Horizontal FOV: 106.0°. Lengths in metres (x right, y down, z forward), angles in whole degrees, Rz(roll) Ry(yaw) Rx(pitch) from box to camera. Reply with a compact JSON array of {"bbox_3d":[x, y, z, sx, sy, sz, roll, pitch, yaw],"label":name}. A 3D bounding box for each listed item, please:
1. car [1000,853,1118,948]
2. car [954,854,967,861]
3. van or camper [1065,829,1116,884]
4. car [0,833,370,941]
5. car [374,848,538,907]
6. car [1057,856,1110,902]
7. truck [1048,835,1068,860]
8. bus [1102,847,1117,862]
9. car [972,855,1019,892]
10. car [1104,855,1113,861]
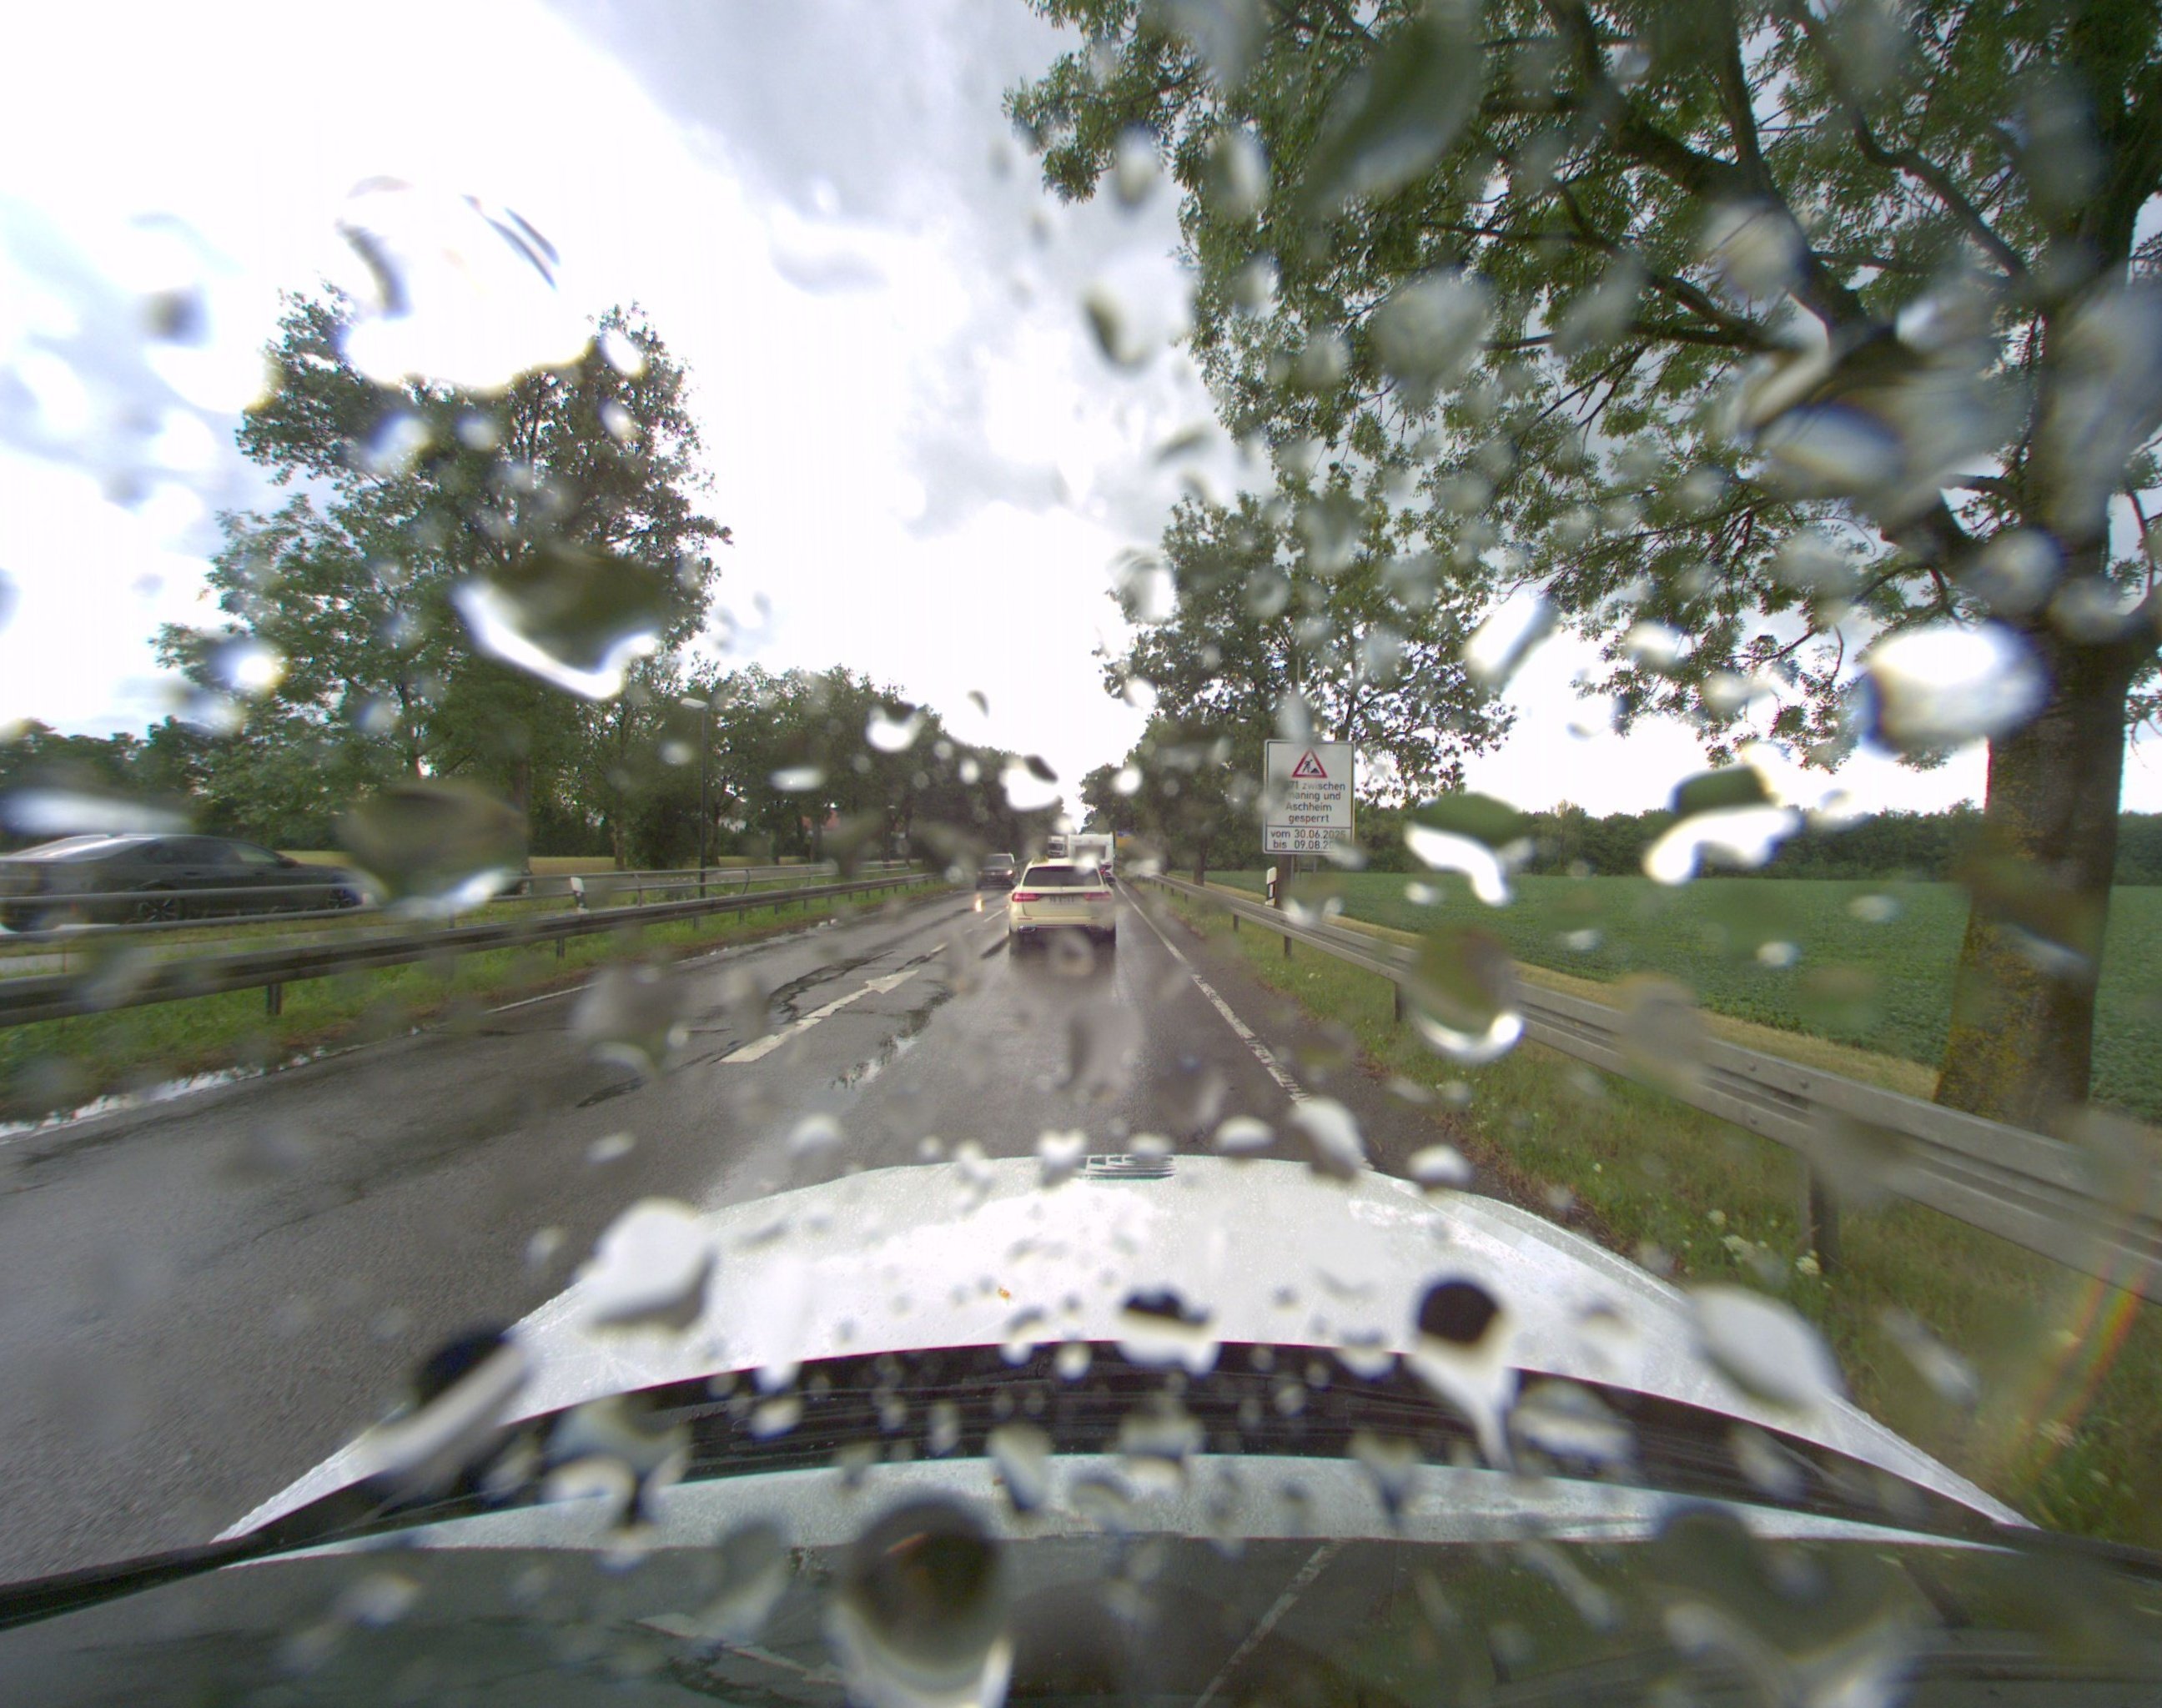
[{"bbox_3d":[-0.274,0.742,14.939,1.858,1.476,4.002,-1,0,2],"label":"car"},{"bbox_3d":[-24.531,0.780,166.071,1.778,1.416,4.002,1,0,2],"label":"car"},{"bbox_3d":[0.565,0.111,42.550,2.480,2.685,5.703,0,0,2],"label":"van or camper"},{"bbox_3d":[-15.090,0.452,13.958,1.512,1.491,5.115,1,0,-3],"label":"car"},{"bbox_3d":[-15.507,0.537,20.474,1.280,1.331,3.893,0,0,-3],"label":"car"},{"bbox_3d":[0.144,0.803,27.828,1.658,1.430,4.002,-1,0,2],"label":"car"},{"bbox_3d":[-3.227,-0.921,116.357,2.568,3.452,9.553,-1,0,0],"label":"truck"},{"bbox_3d":[4.126,0.088,117.222,1.987,2.013,4.000,-1,0,0],"label":"bus"},{"bbox_3d":[-3.985,0.860,38.633,1.758,1.619,4.000,-1,0,0],"label":"car"},{"bbox_3d":[4.965,0.670,147.096,1.546,1.118,4.001,0,-1,2],"label":"car"}]
